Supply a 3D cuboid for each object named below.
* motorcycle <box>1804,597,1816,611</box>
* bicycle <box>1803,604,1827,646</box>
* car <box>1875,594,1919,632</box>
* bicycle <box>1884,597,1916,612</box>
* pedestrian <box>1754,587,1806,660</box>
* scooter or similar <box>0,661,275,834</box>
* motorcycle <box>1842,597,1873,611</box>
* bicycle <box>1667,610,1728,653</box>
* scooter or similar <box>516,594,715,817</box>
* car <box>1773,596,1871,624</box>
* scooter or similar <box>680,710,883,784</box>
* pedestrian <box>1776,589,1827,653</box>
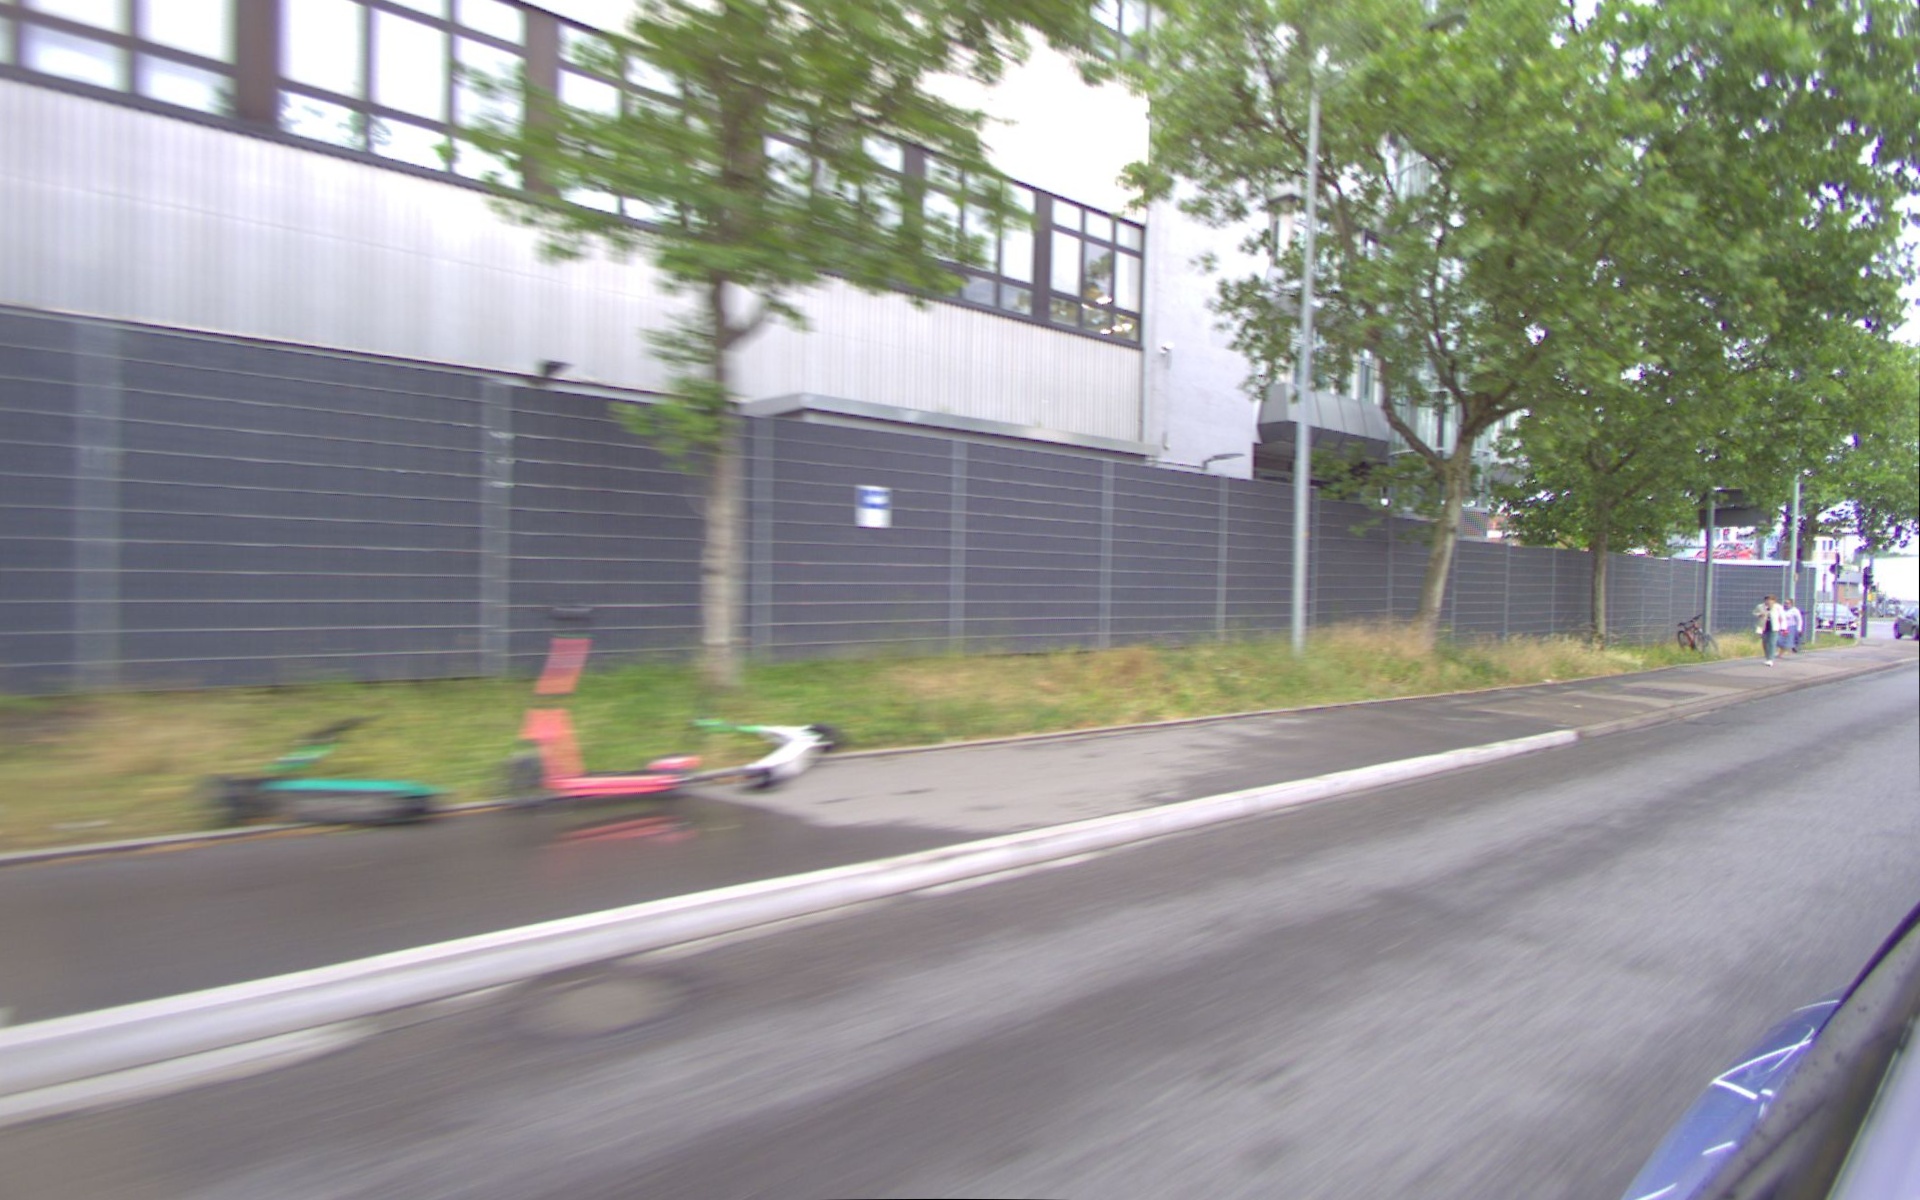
[{"bbox_3d":[86.776,0.372,103.311,1.639,1.350,0.524,-3,1,-37],"label":"motorcycle"},{"bbox_3d":[23.991,0.685,28.384,0.341,1.132,1.941,2,2,44],"label":"bicycle"},{"bbox_3d":[41.937,0.595,43.623,1.665,1.526,4.005,-1,2,6],"label":"car"},{"bbox_3d":[80.243,0.382,86.409,2.040,1.144,0.420,-2,1,10],"label":"bicycle"},{"bbox_3d":[18.545,0.516,22.893,0.825,1.612,0.711,1,1,-37],"label":"pedestrian"},{"bbox_3d":[-4.872,0.784,5.775,0.646,0.722,1.515,2,2,19],"label":"scooter or similar"},{"bbox_3d":[78.911,0.368,88.982,0.478,1.160,2.099,-2,1,-16],"label":"motorcycle"},{"bbox_3d":[18.433,0.773,25.327,0.505,0.965,1.697,2,1,10],"label":"bicycle"},{"bbox_3d":[-2.086,0.595,6.171,1.054,1.242,0.389,1,1,-40],"label":"scooter or similar"},{"bbox_3d":[49.230,0.546,57.860,1.720,1.492,4.061,-3,2,-42],"label":"car"},{"bbox_3d":[-1.234,1.025,7.282,0.649,0.249,1.509,3,2,28],"label":"scooter or similar"},{"bbox_3d":[20.974,0.518,25.217,0.827,1.539,0.833,0,1,-42],"label":"pedestrian"}]
